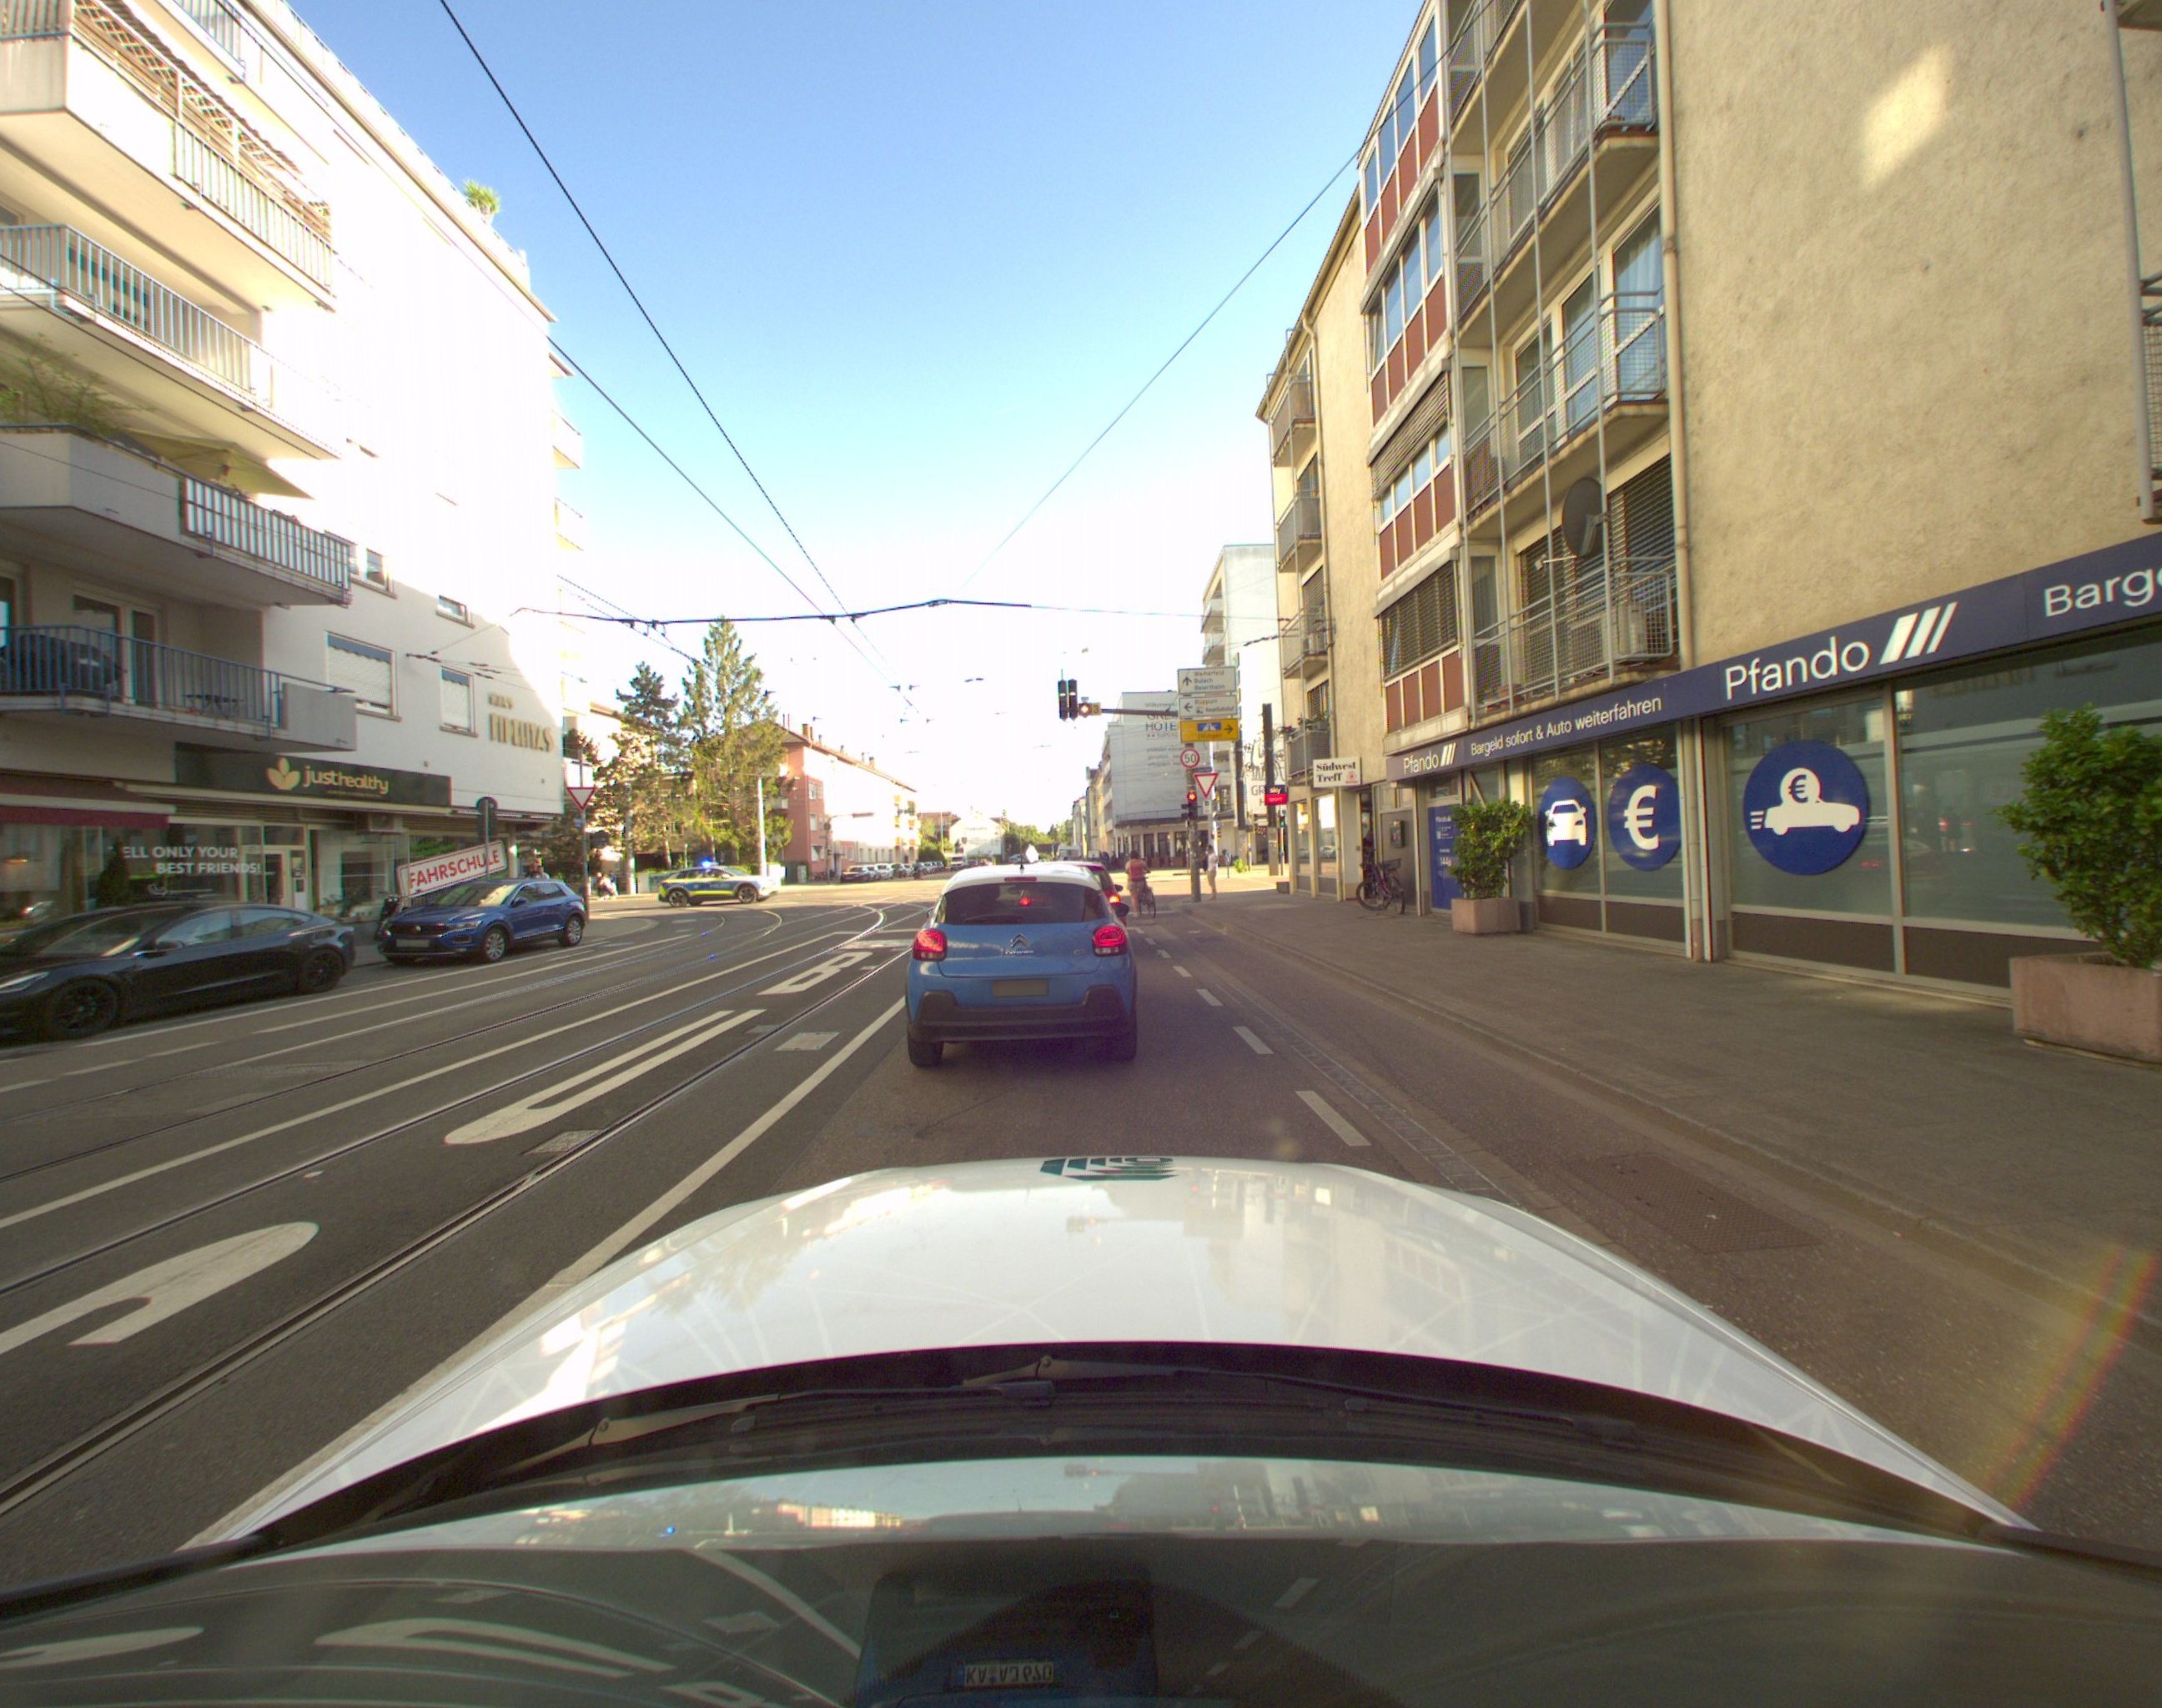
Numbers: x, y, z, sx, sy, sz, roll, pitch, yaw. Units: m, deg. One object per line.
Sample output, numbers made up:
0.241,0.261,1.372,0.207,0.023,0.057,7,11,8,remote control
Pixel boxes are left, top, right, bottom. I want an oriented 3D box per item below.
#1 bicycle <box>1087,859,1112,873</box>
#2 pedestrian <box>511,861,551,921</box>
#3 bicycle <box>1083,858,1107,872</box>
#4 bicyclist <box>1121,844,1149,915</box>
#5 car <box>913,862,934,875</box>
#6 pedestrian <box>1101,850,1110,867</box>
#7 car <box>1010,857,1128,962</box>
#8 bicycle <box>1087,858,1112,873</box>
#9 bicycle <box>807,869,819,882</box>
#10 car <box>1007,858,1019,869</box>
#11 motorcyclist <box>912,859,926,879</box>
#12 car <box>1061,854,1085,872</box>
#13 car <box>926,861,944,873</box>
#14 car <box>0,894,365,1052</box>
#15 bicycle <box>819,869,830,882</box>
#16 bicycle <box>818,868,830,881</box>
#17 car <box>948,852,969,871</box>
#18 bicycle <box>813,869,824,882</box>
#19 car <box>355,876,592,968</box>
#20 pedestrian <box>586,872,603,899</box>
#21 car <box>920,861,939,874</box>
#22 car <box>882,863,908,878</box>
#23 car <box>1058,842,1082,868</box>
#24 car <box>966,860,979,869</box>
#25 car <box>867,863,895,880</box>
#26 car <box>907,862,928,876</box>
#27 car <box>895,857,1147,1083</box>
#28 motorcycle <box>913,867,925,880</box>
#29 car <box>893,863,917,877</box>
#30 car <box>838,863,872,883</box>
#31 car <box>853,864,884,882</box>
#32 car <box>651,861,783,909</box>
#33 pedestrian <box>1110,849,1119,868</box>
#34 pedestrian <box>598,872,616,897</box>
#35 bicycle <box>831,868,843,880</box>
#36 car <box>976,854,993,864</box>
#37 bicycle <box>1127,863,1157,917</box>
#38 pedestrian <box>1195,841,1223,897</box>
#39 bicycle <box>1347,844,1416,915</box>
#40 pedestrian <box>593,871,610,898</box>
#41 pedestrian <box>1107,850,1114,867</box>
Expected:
1.528,0.956,67.239,1.901,1.064,0.641,-2,0,-6,bicycle
-17.285,1.170,25.594,0.761,1.834,0.725,-3,0,28,pedestrian
1.163,0.949,68.442,1.901,1.064,0.641,-2,0,-6,bicycle
1.371,0.629,20.691,0.598,1.746,1.084,-2,0,2,bicyclist
-20.093,1.799,104.037,1.947,1.519,3.995,-2,0,-4,car
2.107,0.391,70.377,0.520,1.420,0.550,-3,0,22,pedestrian
-0.225,0.807,13.706,1.675,1.462,3.997,-1,0,-2,car
1.519,0.926,65.933,1.901,1.064,0.641,-2,0,-6,bicycle
-22.377,1.793,68.076,0.640,1.082,1.905,-2,0,-9,bicycle
-14.260,1.975,171.409,2.333,2.039,5.044,-2,0,-4,car
-13.471,1.268,67.692,0.990,1.631,0.737,-2,0,-7,motorcyclist
-0.713,0.738,67.984,1.783,1.359,3.909,-2,0,-4,car
-20.721,1.850,115.682,1.947,1.519,3.995,-2,0,-4,car
-11.982,1.330,10.420,1.720,1.403,4.486,0,0,-2,car
-21.593,1.793,68.470,0.537,1.082,1.905,-2,0,-9,bicycle
-23.046,1.842,73.105,0.536,1.082,1.908,-2,0,-4,bicycle
-18.122,1.101,120.574,2.489,2.712,5.828,-2,0,-5,car
-21.971,1.794,68.186,0.537,1.082,1.905,-2,0,-9,bicycle
-11.877,1.243,16.323,1.720,1.505,4.113,0,0,-2,car
-31.487,2.038,52.678,0.812,1.702,0.629,-2,0,-22,pedestrian
-20.294,1.771,109.326,1.947,1.519,3.995,-2,0,-4,car
-19.726,1.738,86.527,1.947,1.519,3.995,-2,0,-4,car
-1.035,0.082,73.445,2.074,2.269,5.647,-1,0,-2,car
-19.332,1.813,145.243,1.947,1.519,3.995,-2,0,-4,car
-19.556,1.683,79.854,1.947,1.519,3.995,-2,0,-4,car
-19.847,1.784,99.023,1.947,1.519,3.995,-2,0,-4,car
-0.451,0.788,7.497,1.675,1.462,3.997,-1,0,-2,car
-13.481,1.595,67.759,0.751,0.976,2.092,-2,0,-7,motorcycle
-19.977,1.789,92.594,1.947,1.519,3.995,-2,0,-4,car
-19.287,1.600,69.618,1.947,1.519,3.995,-2,0,-4,car
-19.567,1.717,75.242,1.947,1.519,4.040,-2,0,-4,car
-14.874,1.238,33.472,4.524,1.684,1.790,-2,0,-3,car
2.907,0.387,71.039,0.554,1.647,0.536,-2,0,-14,pedestrian
-32.400,2.084,55.653,0.810,1.702,0.677,-2,0,-15,pedestrian
-22.713,1.860,75.801,0.608,1.082,1.908,-2,0,-4,bicycle
-18.258,0.966,153.926,2.012,1.627,5.018,-2,0,-20,car
1.534,0.884,20.724,0.611,1.264,1.911,-2,0,2,bicycle
3.841,0.450,24.413,0.747,1.635,0.742,-2,0,7,pedestrian
5.760,0.453,15.737,0.637,1.264,1.911,-2,0,2,bicycle
-30.773,1.953,52.267,0.812,1.702,0.602,-2,0,-22,pedestrian
2.527,0.375,70.115,0.467,1.420,0.524,-2,0,-11,pedestrian
